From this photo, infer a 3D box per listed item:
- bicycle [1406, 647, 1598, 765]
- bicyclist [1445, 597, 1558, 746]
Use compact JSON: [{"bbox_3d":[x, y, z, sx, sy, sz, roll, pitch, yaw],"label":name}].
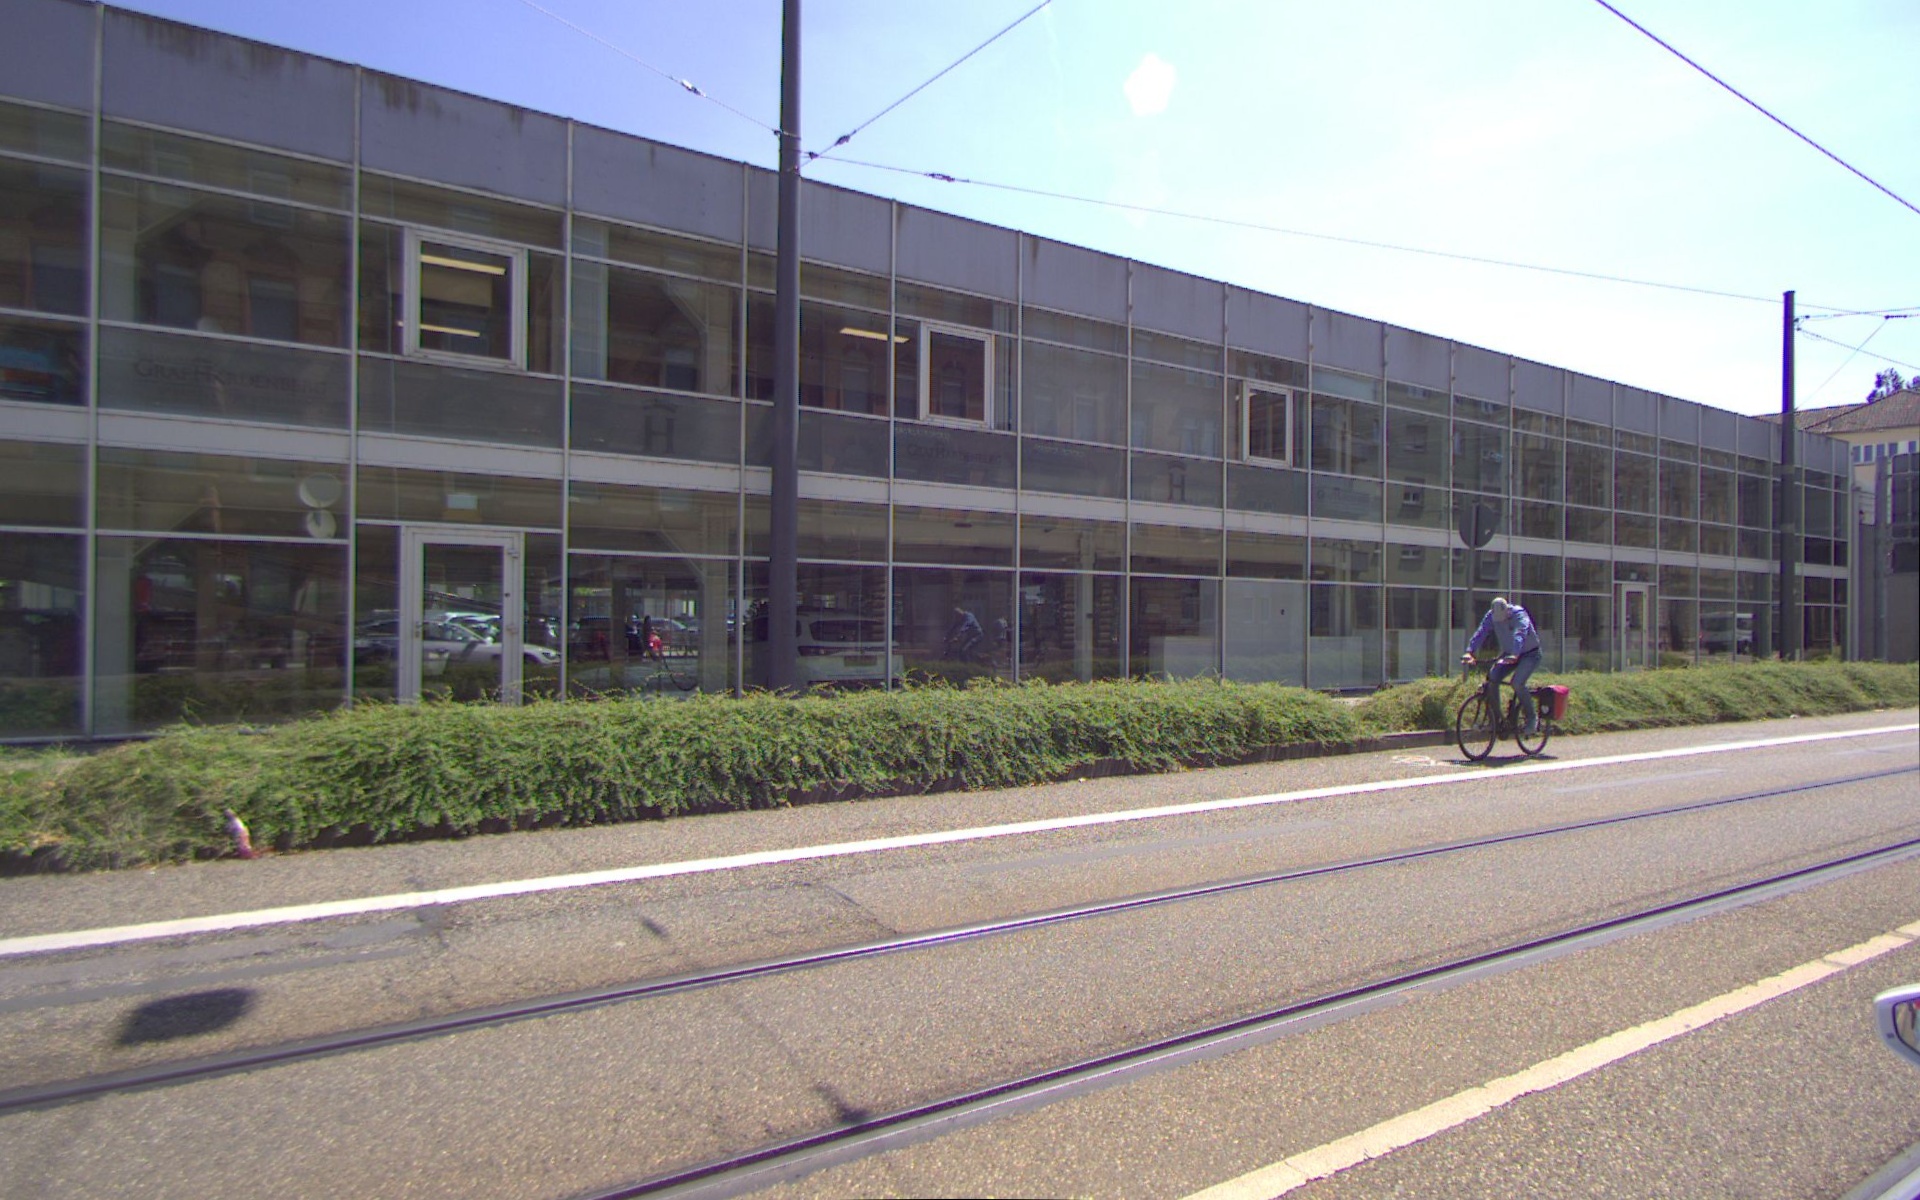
[{"bbox_3d":[6.038,1.119,11.133,2.466,1.160,0.695,1,-1,-30],"label":"bicycle"},{"bbox_3d":[5.981,0.762,11.109,0.968,1.569,0.695,1,-1,-29],"label":"bicyclist"}]
